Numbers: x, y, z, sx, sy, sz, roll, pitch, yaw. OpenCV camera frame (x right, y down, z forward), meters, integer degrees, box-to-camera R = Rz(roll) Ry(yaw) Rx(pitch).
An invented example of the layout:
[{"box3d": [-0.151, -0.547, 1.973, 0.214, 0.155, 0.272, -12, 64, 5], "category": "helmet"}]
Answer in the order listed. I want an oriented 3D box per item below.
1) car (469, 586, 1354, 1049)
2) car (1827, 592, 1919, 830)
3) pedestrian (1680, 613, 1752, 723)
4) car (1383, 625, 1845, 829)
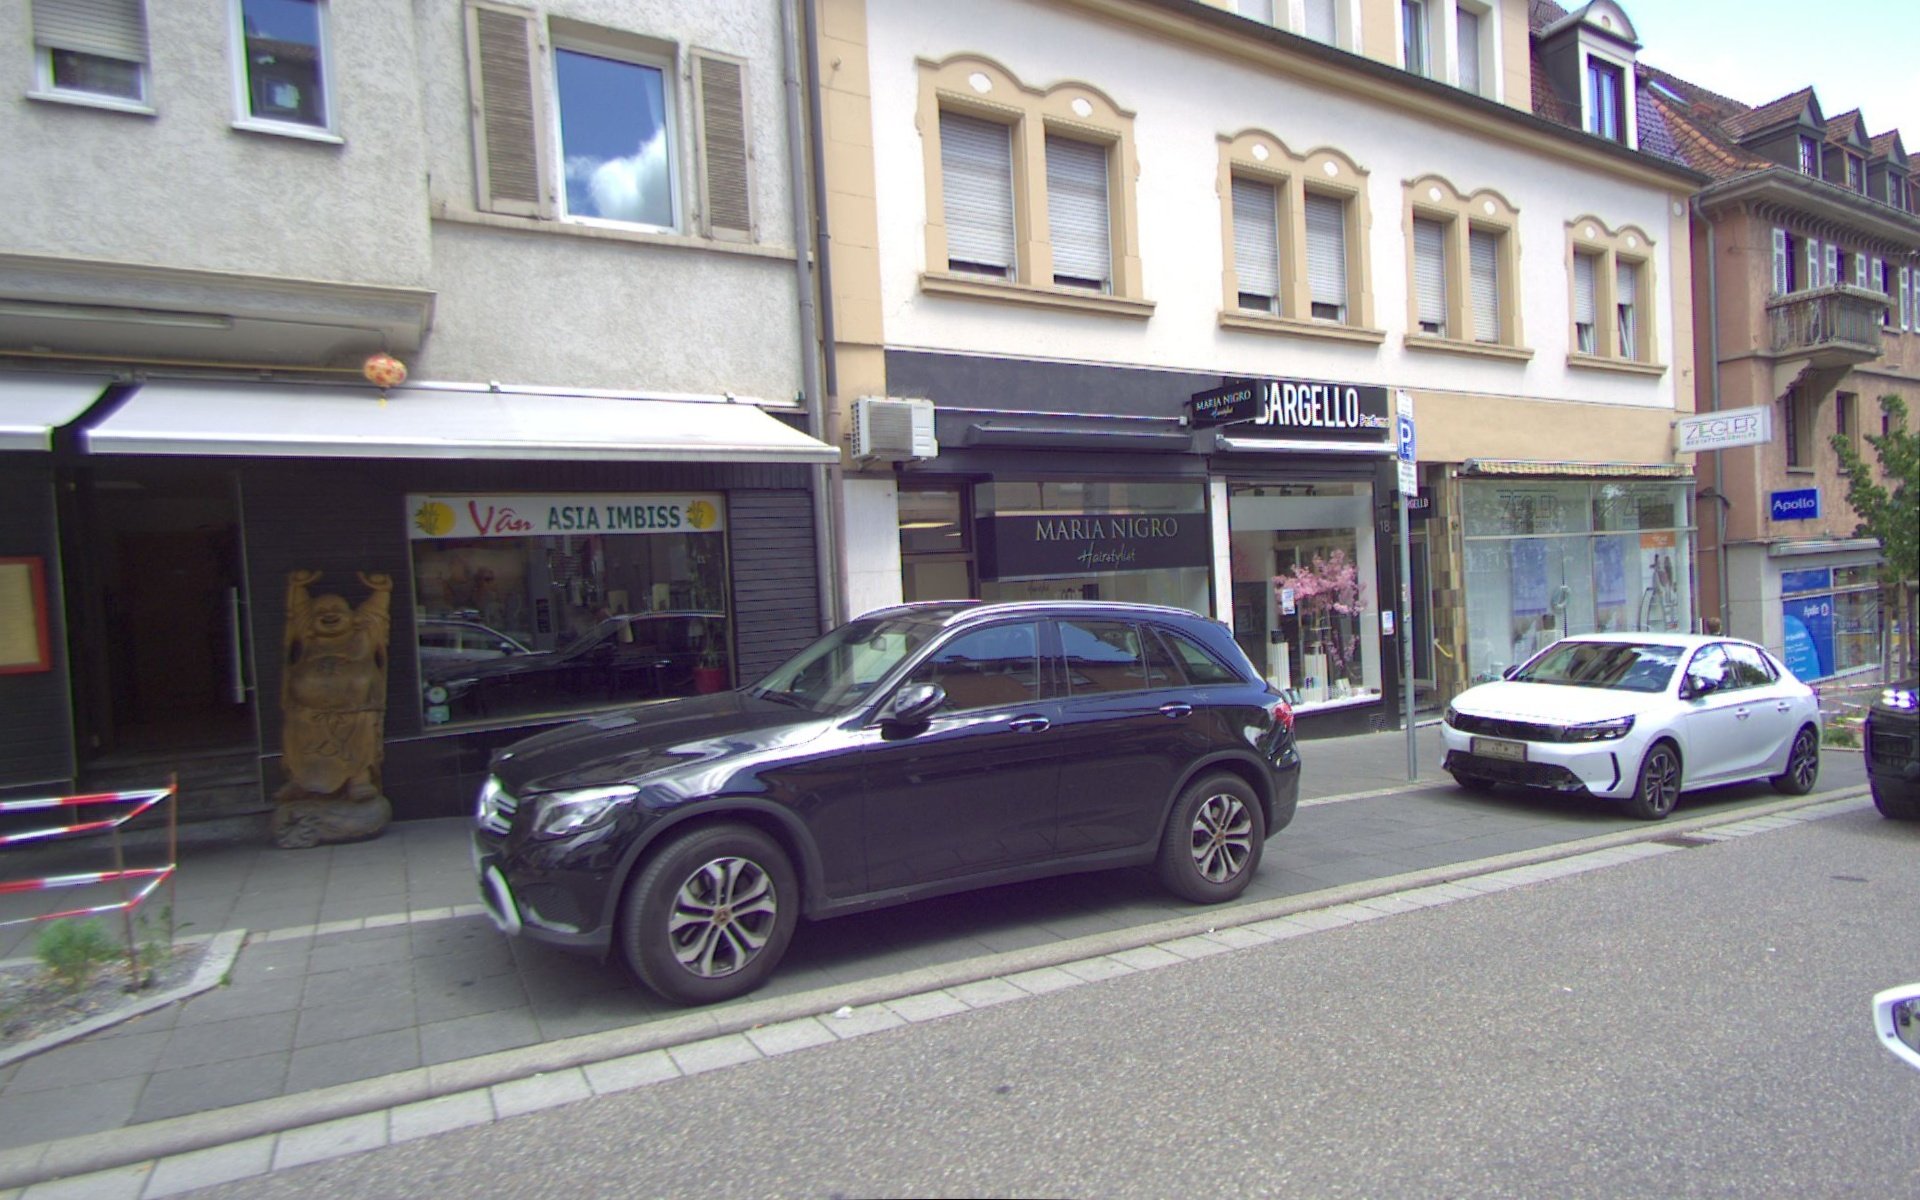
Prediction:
[{"box3d": [-0.103, 0.793, 5.600, 4.587, 1.643, 1.916, 1, 0, -32], "category": "car"}, {"box3d": [9.138, 0.816, 8.098, 4.396, 1.740, 1.982, 1, -3, -32], "category": "car"}, {"box3d": [11.346, 0.999, 15.081, 0.853, 1.596, 0.544, 0, -2, -31], "category": "pedestrian"}, {"box3d": [6.143, 0.989, 9.366, 4.210, 1.449, 1.918, 0, 0, -30], "category": "car"}]
